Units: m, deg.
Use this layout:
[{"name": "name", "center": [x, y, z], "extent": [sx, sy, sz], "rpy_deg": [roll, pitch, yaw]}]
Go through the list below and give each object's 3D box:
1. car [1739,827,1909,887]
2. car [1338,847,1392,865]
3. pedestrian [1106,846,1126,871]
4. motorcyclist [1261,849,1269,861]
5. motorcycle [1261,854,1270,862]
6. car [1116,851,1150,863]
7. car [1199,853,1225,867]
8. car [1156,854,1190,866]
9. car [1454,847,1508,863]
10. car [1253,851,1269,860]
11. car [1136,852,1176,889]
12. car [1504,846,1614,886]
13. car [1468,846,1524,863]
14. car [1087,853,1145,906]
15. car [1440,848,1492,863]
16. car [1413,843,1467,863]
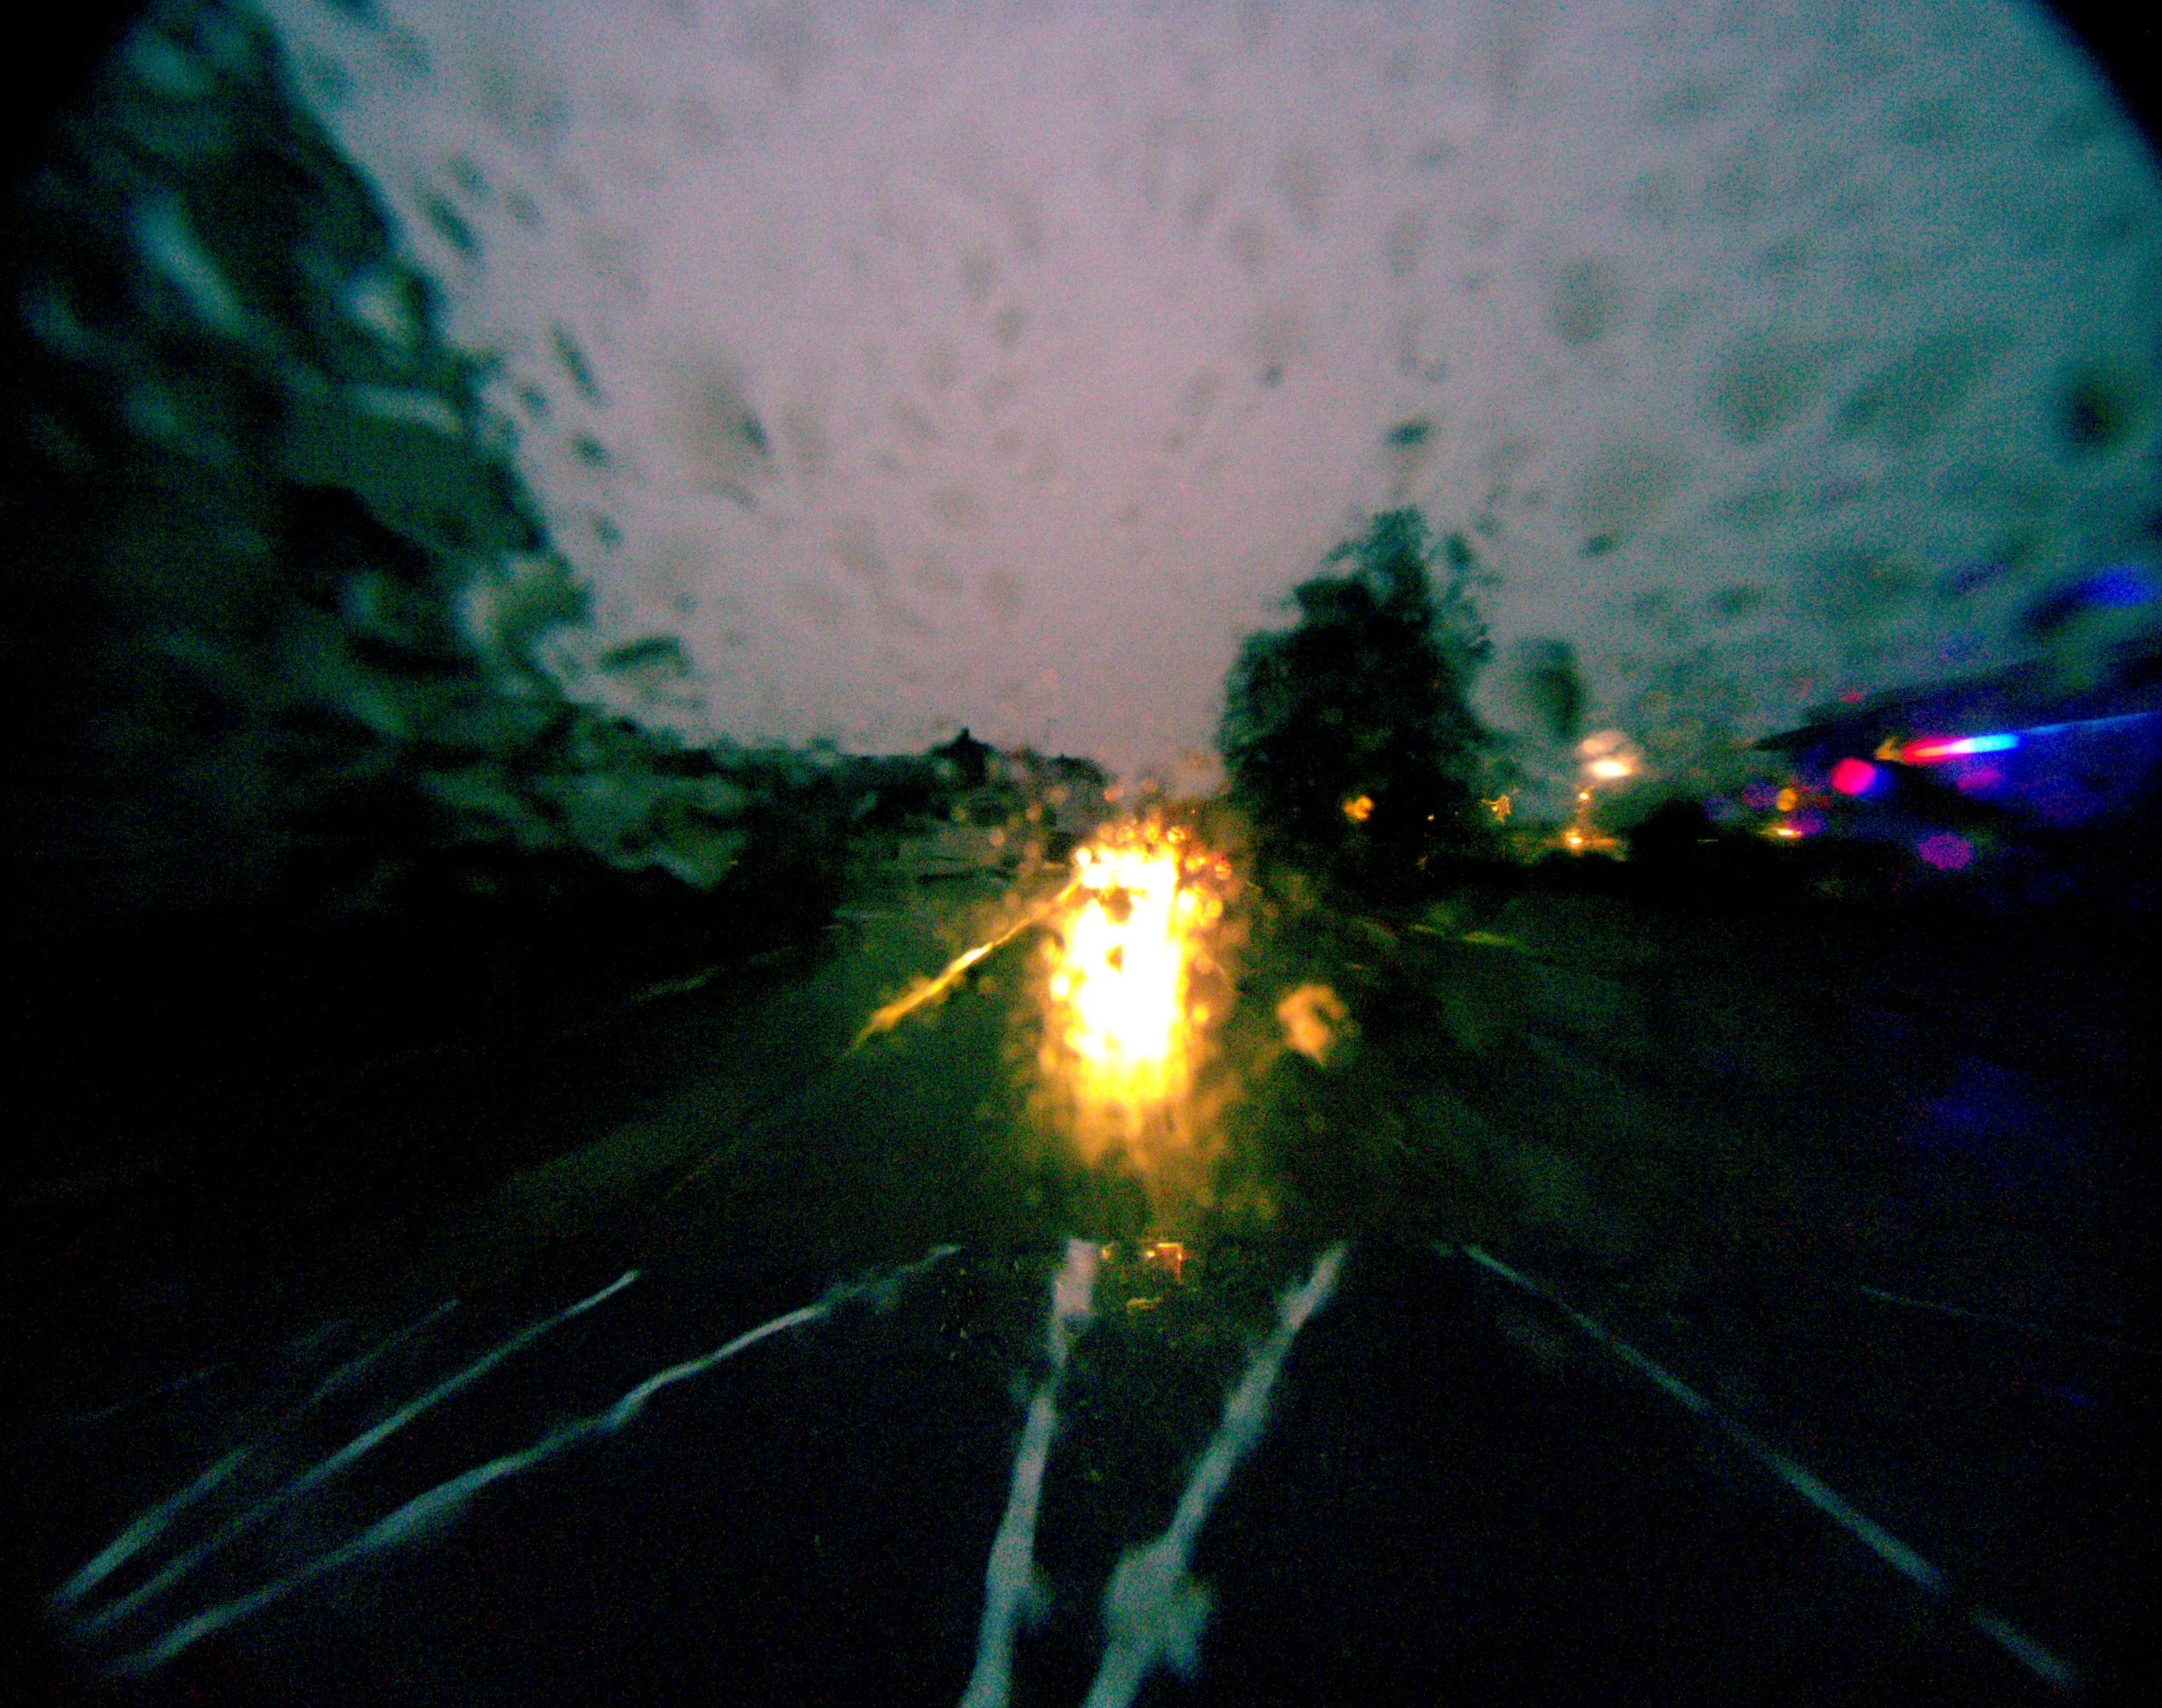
[{"name": "car", "center": [31.413, 0.176, 32.442], "extent": [2.285, 2.265, 5.272], "rpy_deg": [-2, -1, 5]}, {"name": "car", "center": [28.930, 0.212, 77.503], "extent": [4.781, 1.701, 2.033], "rpy_deg": [-1, 0, 2]}, {"name": "pedestrian", "center": [2.695, 0.367, 58.197], "extent": [1.256, 1.855, 1.304], "rpy_deg": [2, 1, 12]}, {"name": "motorcyclist", "center": [24.714, 0.128, 102.007], "extent": [0.866, 1.476, 0.910], "rpy_deg": [-1, 1, 22]}, {"name": "motorcycle", "center": [24.733, 0.577, 102.034], "extent": [0.866, 1.018, 2.113], "rpy_deg": [-1, 1, 22]}, {"name": "car", "center": [6.782, 0.380, 98.090], "extent": [4.178, 1.432, 1.799], "rpy_deg": [-3, -1, 9]}, {"name": "car", "center": [16.528, 0.753, 96.173], "extent": [1.778, 1.713, 4.416], "rpy_deg": [-1, 0, -12]}, {"name": "car", "center": [12.286, 0.790, 101.565], "extent": [4.031, 1.486, 1.780], "rpy_deg": [-1, 0, 28]}, {"name": "car", "center": [41.484, 0.128, 78.839], "extent": [4.440, 1.554, 2.056], "rpy_deg": [1, 0, 3]}, {"name": "car", "center": [31.210, 0.238, 131.501], "extent": [1.773, 1.422, 3.803], "rpy_deg": [-2, -1, 28]}, {"name": "car", "center": [4.011, 0.813, 40.142], "extent": [1.897, 1.689, 4.242], "rpy_deg": [-3, 0, 8]}, {"name": "car", "center": [25.977, 0.671, 41.399], "extent": [4.658, 1.965, 2.128], "rpy_deg": [-2, -1, -2]}, {"name": "car", "center": [41.465, 0.062, 75.921], "extent": [4.440, 1.554, 2.056], "rpy_deg": [1, 0, 3]}, {"name": "car", "center": [1.269, 0.791, 25.699], "extent": [1.775, 1.632, 4.423], "rpy_deg": [-1, 0, 5]}, {"name": "car", "center": [41.237, 0.202, 81.445], "extent": [4.440, 1.554, 2.056], "rpy_deg": [1, 0, 3]}, {"name": "car", "center": [41.777, -0.121, 88.524], "extent": [5.197, 2.269, 2.219], "rpy_deg": [1, 0, 3]}]
